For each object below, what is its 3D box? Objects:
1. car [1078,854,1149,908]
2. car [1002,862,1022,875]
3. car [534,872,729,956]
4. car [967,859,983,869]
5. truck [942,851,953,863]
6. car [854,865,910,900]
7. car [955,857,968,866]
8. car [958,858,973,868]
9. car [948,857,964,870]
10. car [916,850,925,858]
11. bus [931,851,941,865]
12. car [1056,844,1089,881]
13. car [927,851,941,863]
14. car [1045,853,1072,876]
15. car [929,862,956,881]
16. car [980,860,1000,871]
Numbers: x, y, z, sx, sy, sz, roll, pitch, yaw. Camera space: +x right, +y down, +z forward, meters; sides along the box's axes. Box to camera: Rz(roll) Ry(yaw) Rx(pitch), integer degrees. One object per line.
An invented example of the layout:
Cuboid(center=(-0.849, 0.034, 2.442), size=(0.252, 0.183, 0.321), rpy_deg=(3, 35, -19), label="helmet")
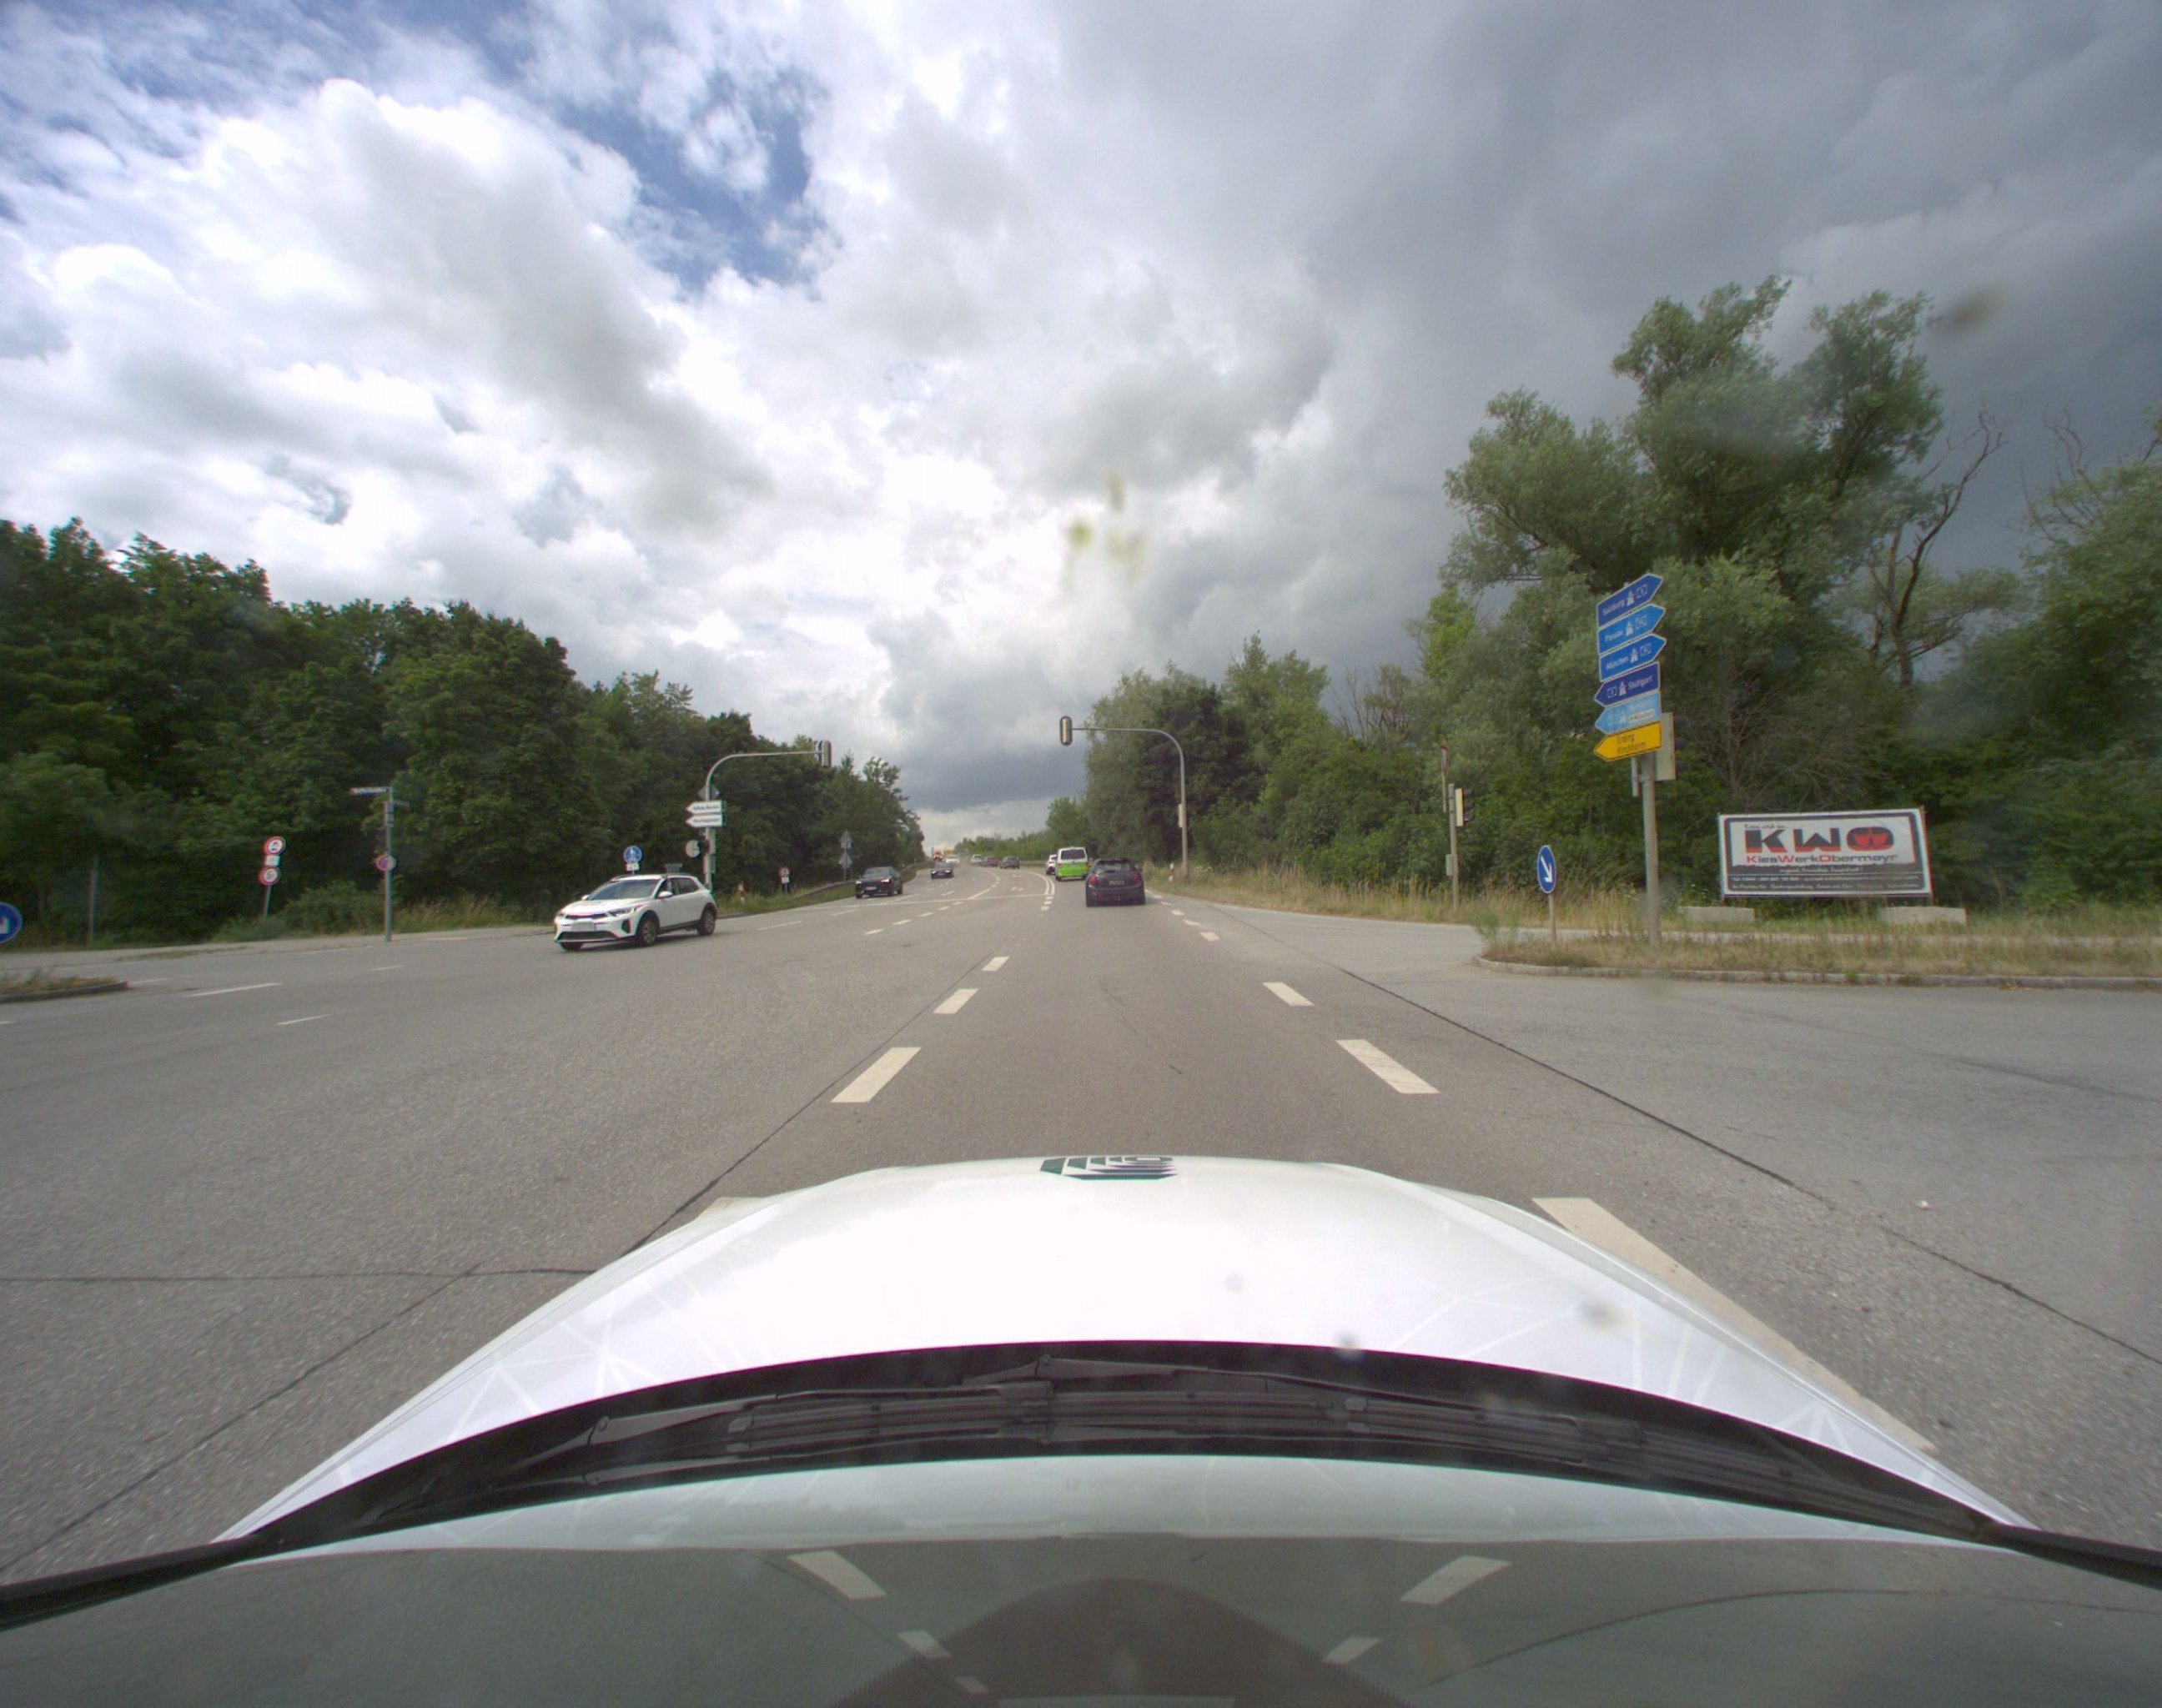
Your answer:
Cuboid(center=(0.924, 0.757, 25.121), size=(1.840, 1.428, 3.838), rpy_deg=(-2, 1, -2), label="car")
Cuboid(center=(-8.164, 1.728, 96.306), size=(1.994, 1.476, 4.469), rpy_deg=(-1, -1, -11), label="car")
Cuboid(center=(-9.604, 1.196, 17.867), size=(1.723, 1.505, 4.347), rpy_deg=(-2, 0, 1), label="car")
Cuboid(center=(-16.509, 1.635, 126.568), size=(1.996, 1.476, 4.464), rpy_deg=(-1, -1, -14), label="car")
Cuboid(center=(-35.116, 0.765, 215.044), size=(2.716, 2.898, 8.743), rpy_deg=(0, -3, -8), label="truck")
Cuboid(center=(-10.185, 1.430, 41.992), size=(1.757, 1.583, 4.202), rpy_deg=(-4, -1, 0), label="car")
Cuboid(center=(-23.531, 1.467, 160.190), size=(1.996, 1.696, 4.464), rpy_deg=(-1, -1, -13), label="car")
Cuboid(center=(-20.470, 1.657, 143.857), size=(1.998, 1.696, 4.460), rpy_deg=(-1, -1, -17), label="car")
Cuboid(center=(-16.870, 1.263, 110.329), size=(1.992, 1.613, 3.989), rpy_deg=(-2, 0, -8), label="car")
Cuboid(center=(-39.201, -0.022, 199.478), size=(1.994, 2.013, 3.986), rpy_deg=(-2, 0, -10), label="car")
Cuboid(center=(-34.408, 0.907, 192.977), size=(1.995, 3.302, 7.396), rpy_deg=(-2, 0, -13), label="bus")
Cuboid(center=(-0.535, 0.476, 48.791), size=(1.840, 1.986, 3.839), rpy_deg=(-1, 2, -1), label="car")
Cuboid(center=(-21.336, 0.404, 118.219), size=(1.994, 1.690, 3.985), rpy_deg=(-2, 0, -11), label="car")
Cuboid(center=(-1.736, 0.853, 63.936), size=(1.988, 1.684, 3.997), rpy_deg=(-2, -1, -2), label="car")
Cuboid(center=(-12.379, 1.537, 72.970), size=(1.733, 1.405, 4.247), rpy_deg=(-5, 0, -2), label="car")
Cuboid(center=(-12.543, 1.605, 112.285), size=(1.998, 1.476, 4.461), rpy_deg=(-1, -1, -16), label="car")
